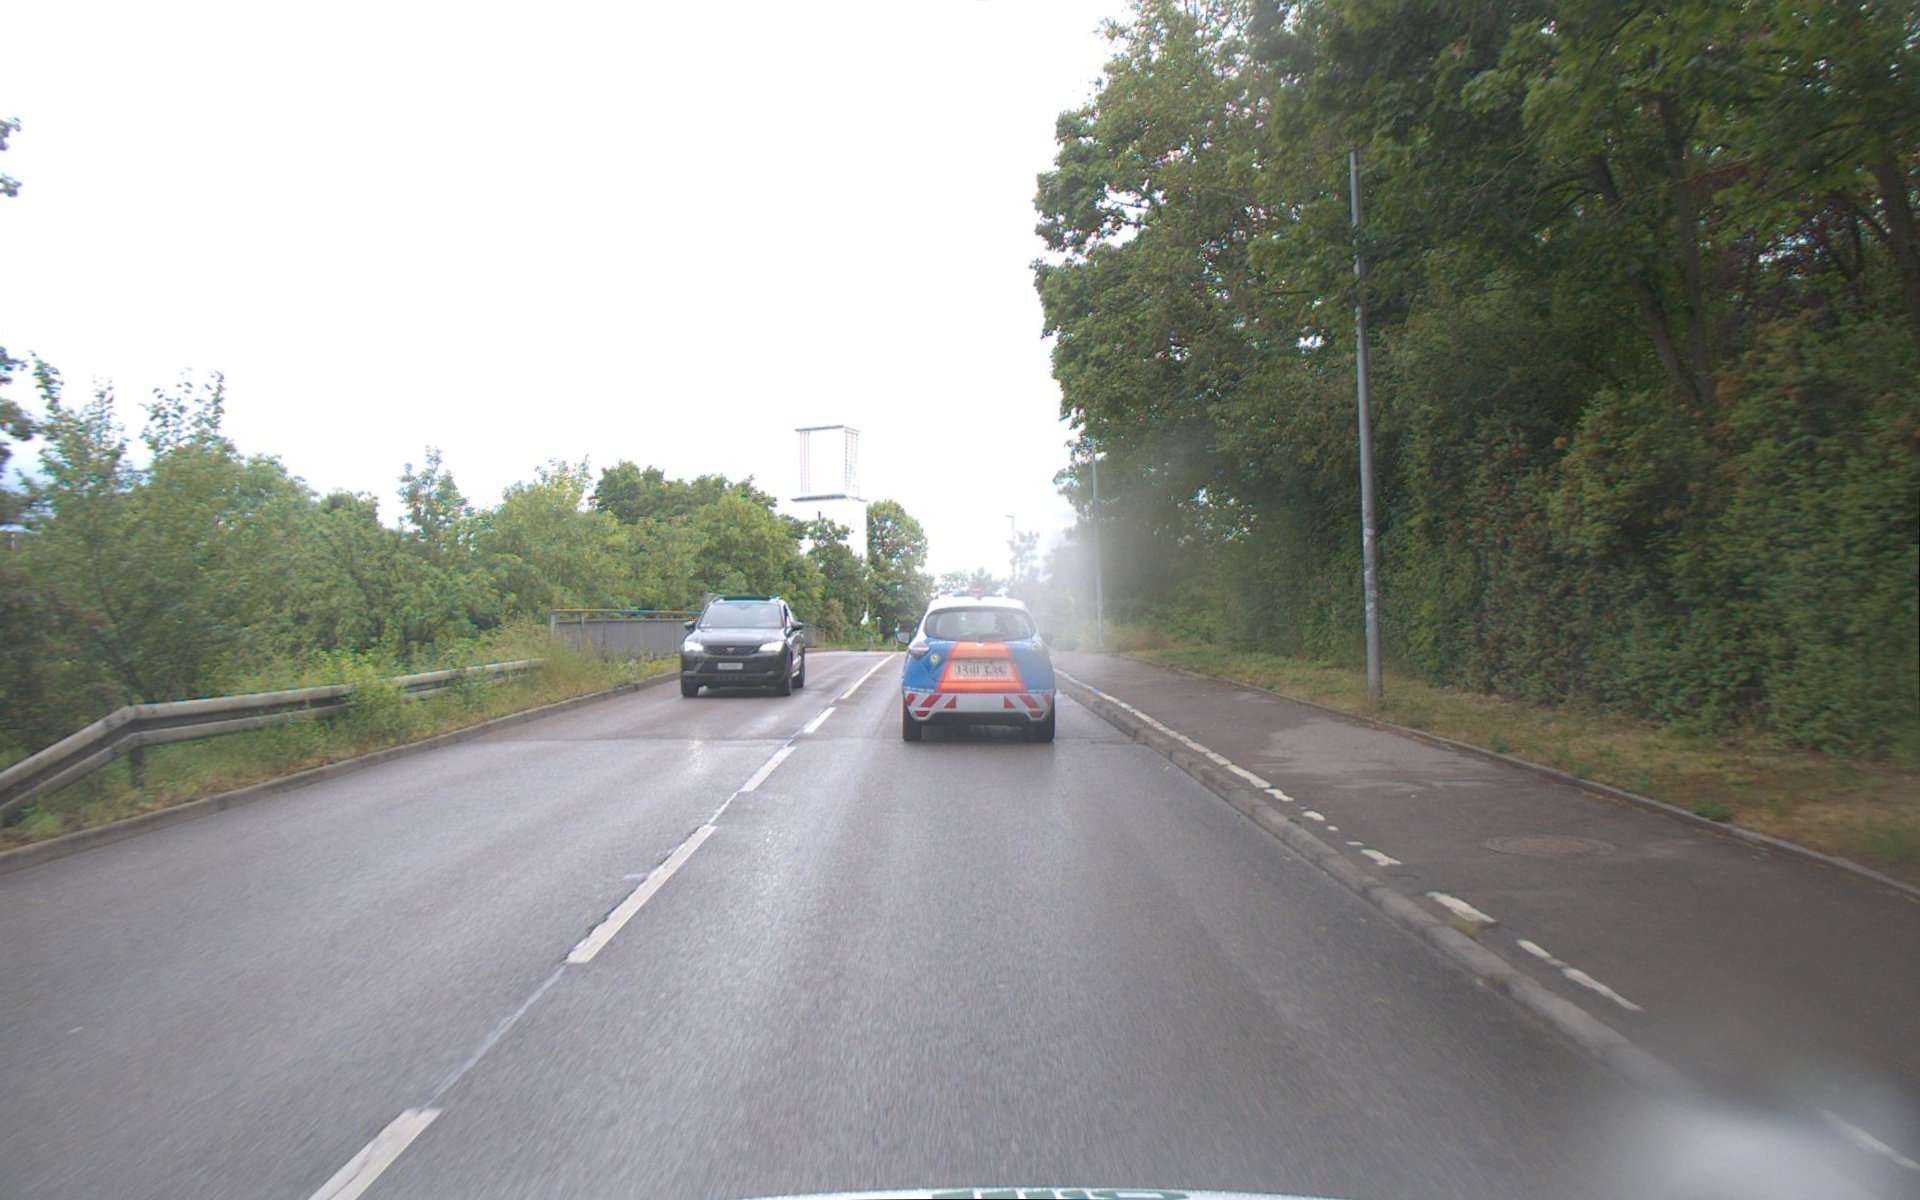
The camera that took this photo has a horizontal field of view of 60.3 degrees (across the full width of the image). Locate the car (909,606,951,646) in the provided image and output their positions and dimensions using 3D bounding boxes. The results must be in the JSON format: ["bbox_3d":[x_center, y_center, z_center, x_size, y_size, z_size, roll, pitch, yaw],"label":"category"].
[{"bbox_3d":[-1.311,1.129,72.967,1.766,1.618,3.562,-2,0,-1],"label":"car"}]

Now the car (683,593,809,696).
[{"bbox_3d":[-3.597,0.705,28.357,1.695,1.613,4.079,-1,0,-1],"label":"car"}]

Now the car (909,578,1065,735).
[{"bbox_3d":[0.260,0.613,19.187,1.624,1.621,3.567,-1,-1,-1],"label":"car"}]
